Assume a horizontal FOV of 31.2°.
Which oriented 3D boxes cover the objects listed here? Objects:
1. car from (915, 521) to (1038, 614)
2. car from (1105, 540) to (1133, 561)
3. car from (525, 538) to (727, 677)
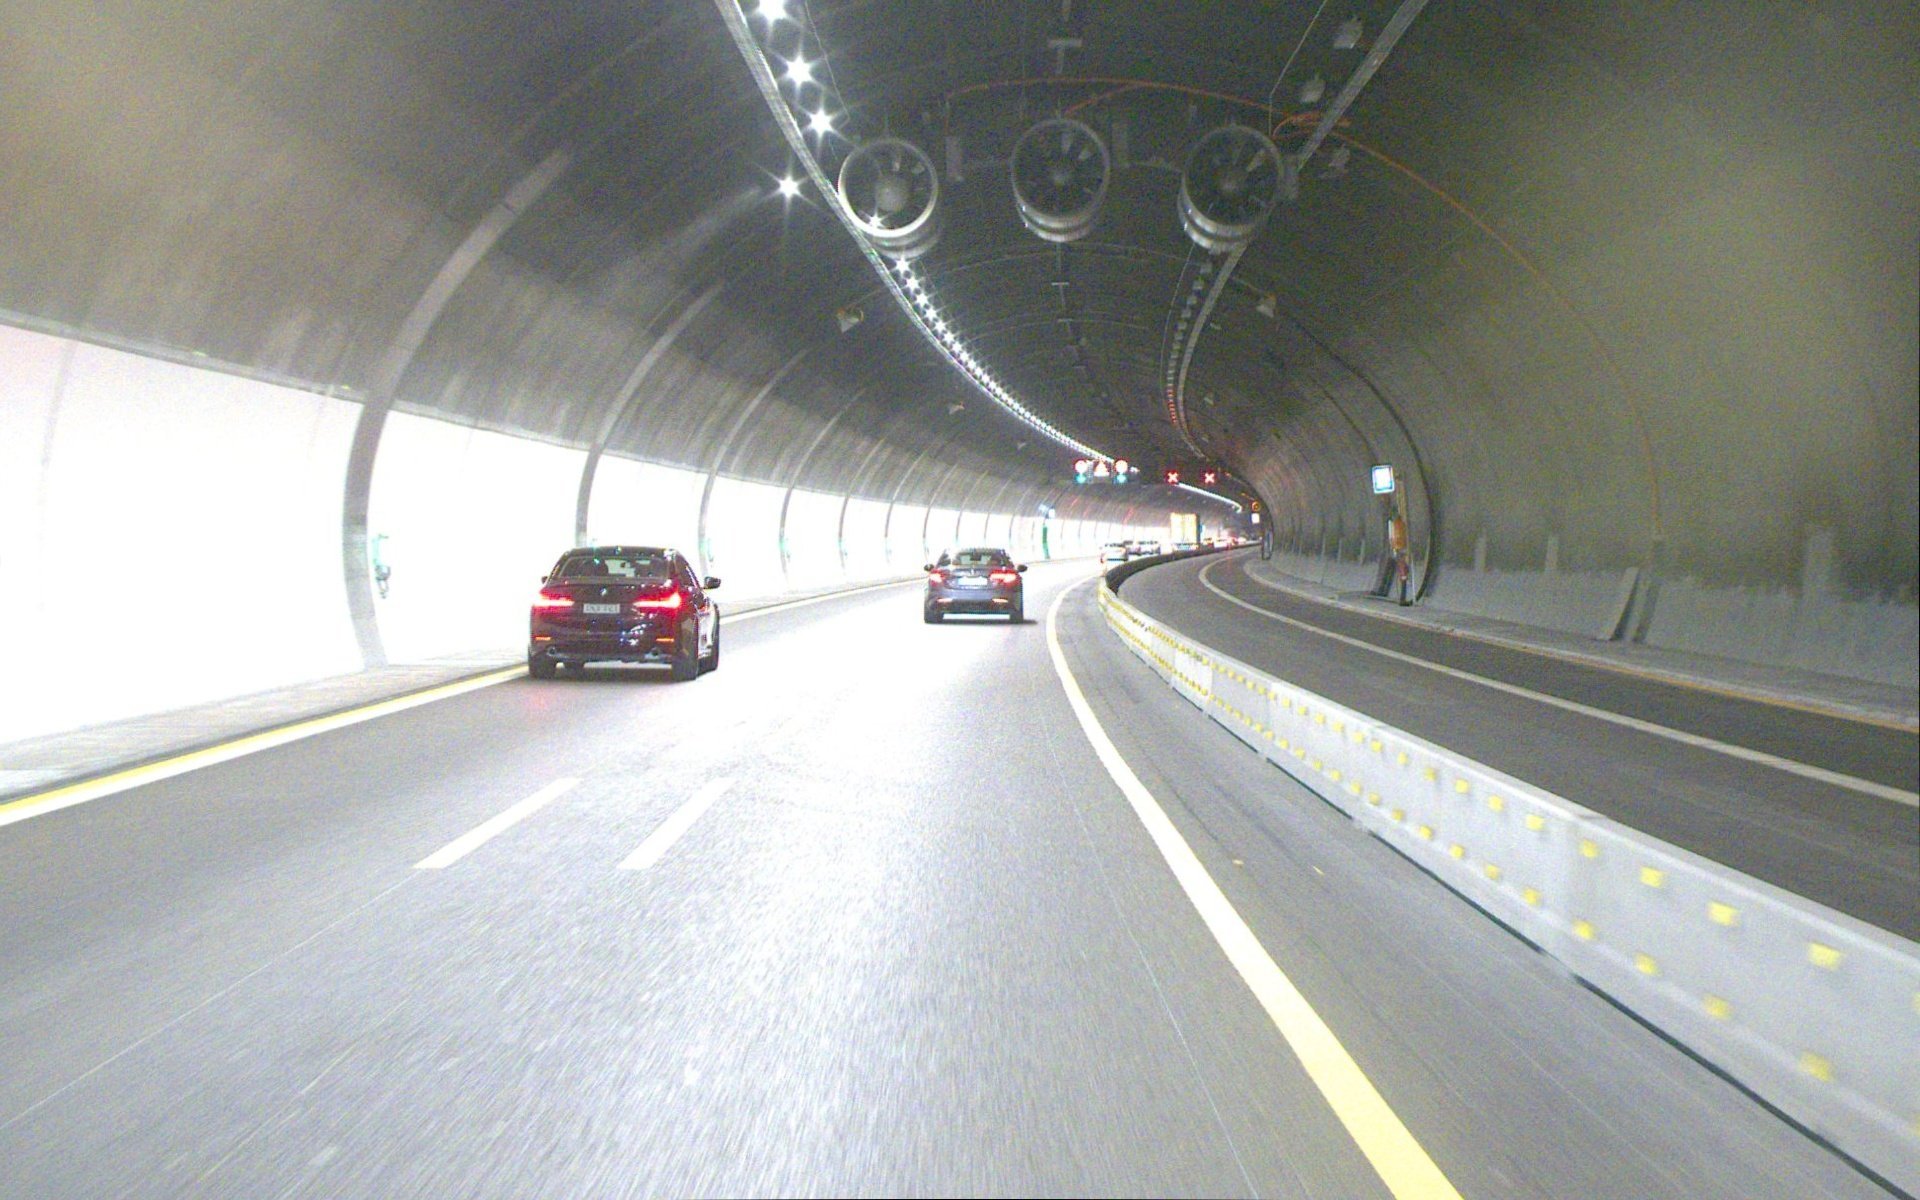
[{"bbox_3d":[0.345,-0.638,65.666,2.141,1.700,4.000,1,1,3],"label":"car"},{"bbox_3d":[10.305,-3.215,222.541,1.595,1.328,3.749,1,1,6],"label":"car"},{"bbox_3d":[-3.707,0.038,38.863,1.778,1.433,4.883,1,1,0],"label":"car"}]
